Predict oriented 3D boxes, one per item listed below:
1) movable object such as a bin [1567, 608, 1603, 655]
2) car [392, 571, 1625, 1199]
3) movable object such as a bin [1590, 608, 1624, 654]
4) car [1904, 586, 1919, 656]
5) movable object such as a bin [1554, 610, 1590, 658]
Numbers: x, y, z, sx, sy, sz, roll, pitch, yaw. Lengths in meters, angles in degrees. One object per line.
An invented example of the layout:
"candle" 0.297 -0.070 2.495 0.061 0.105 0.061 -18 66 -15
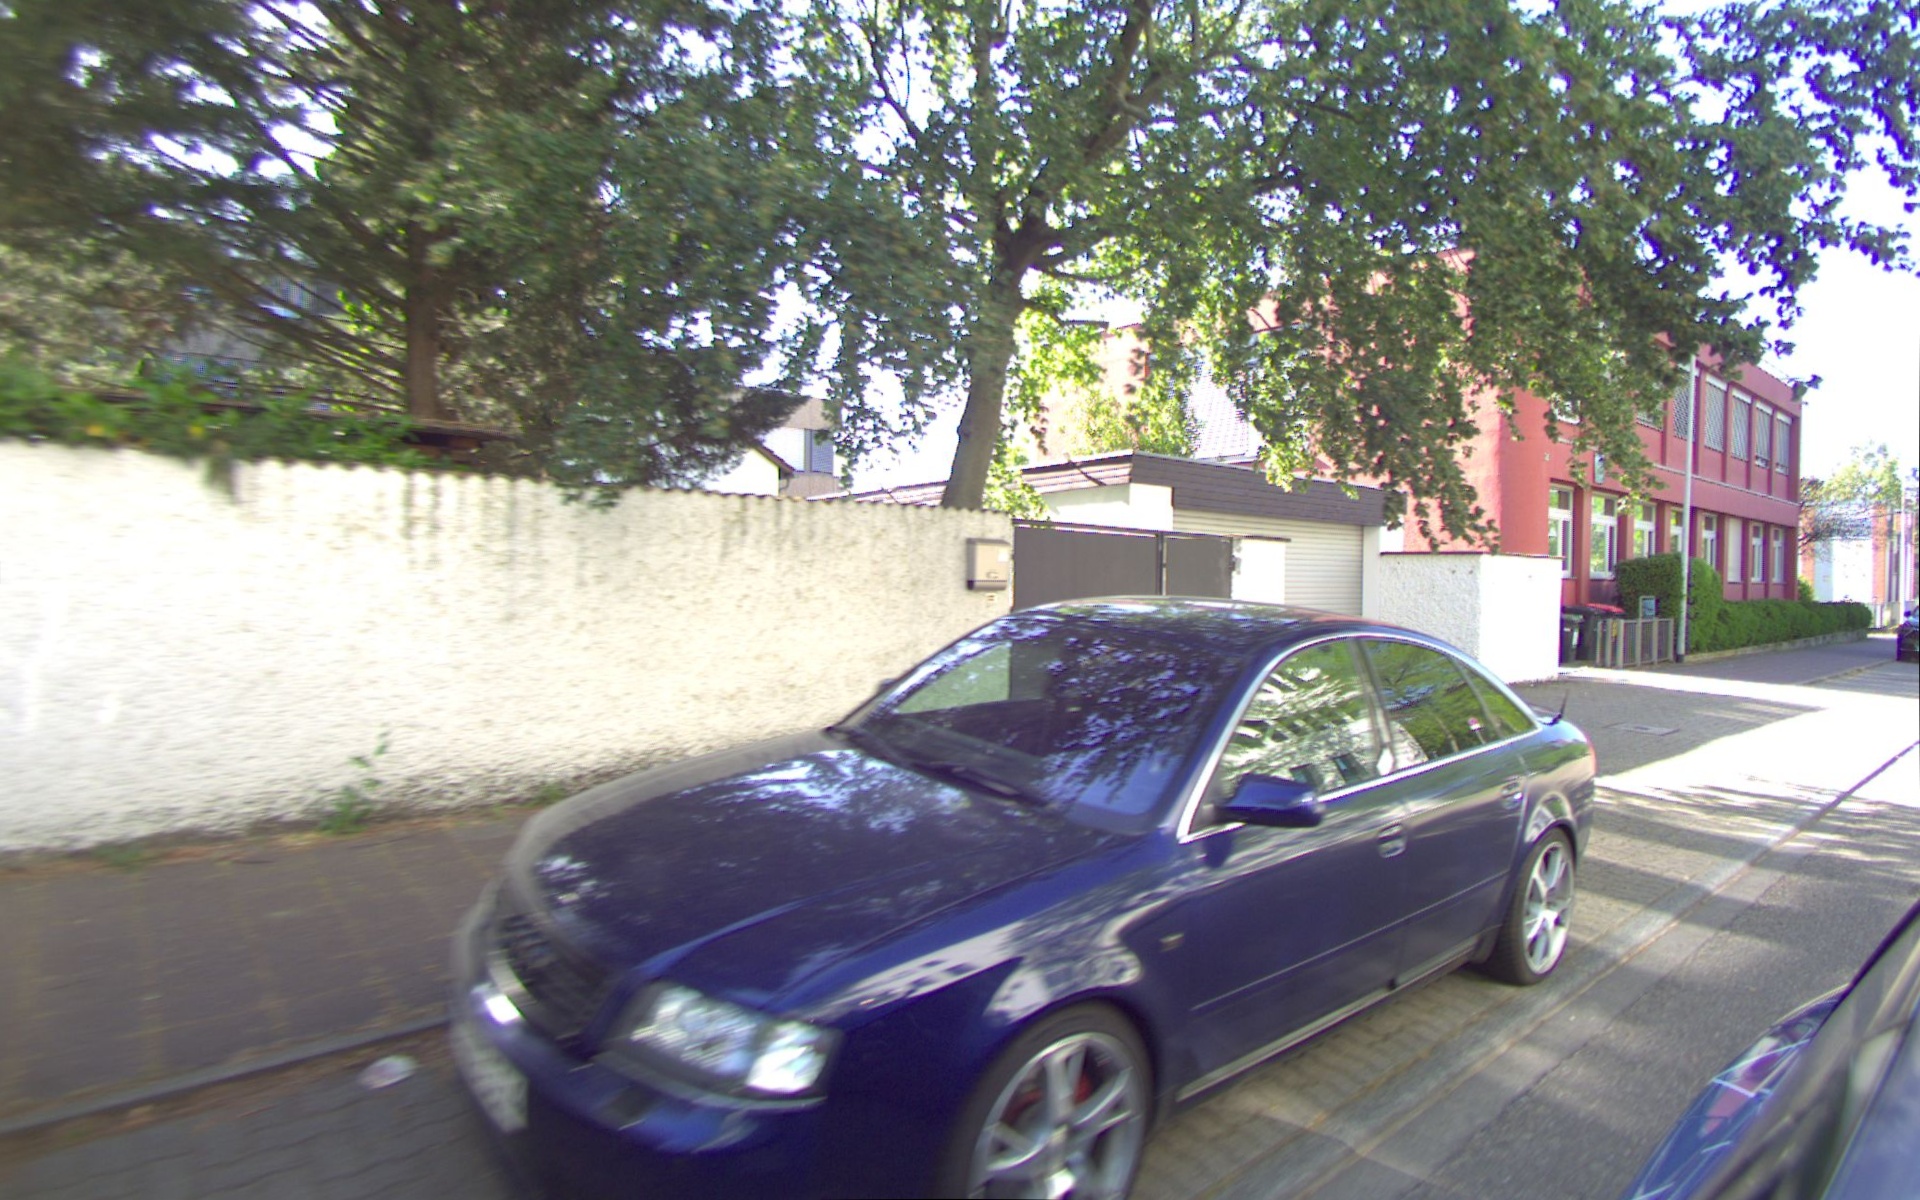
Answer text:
"movable object such as a bin" 12.552 0.629 20.326 0.466 0.912 0.478 0 0 -39
"car" 0.556 0.673 3.567 4.207 1.441 1.830 0 2 -40
"movable object such as a bin" 13.346 0.629 20.878 0.466 0.912 0.478 0 0 -39
"car" 24.828 0.532 24.812 4.294 1.650 1.903 0 2 -40
"movable object such as a bin" 12.025 0.667 19.886 0.466 0.912 0.478 0 0 -39
